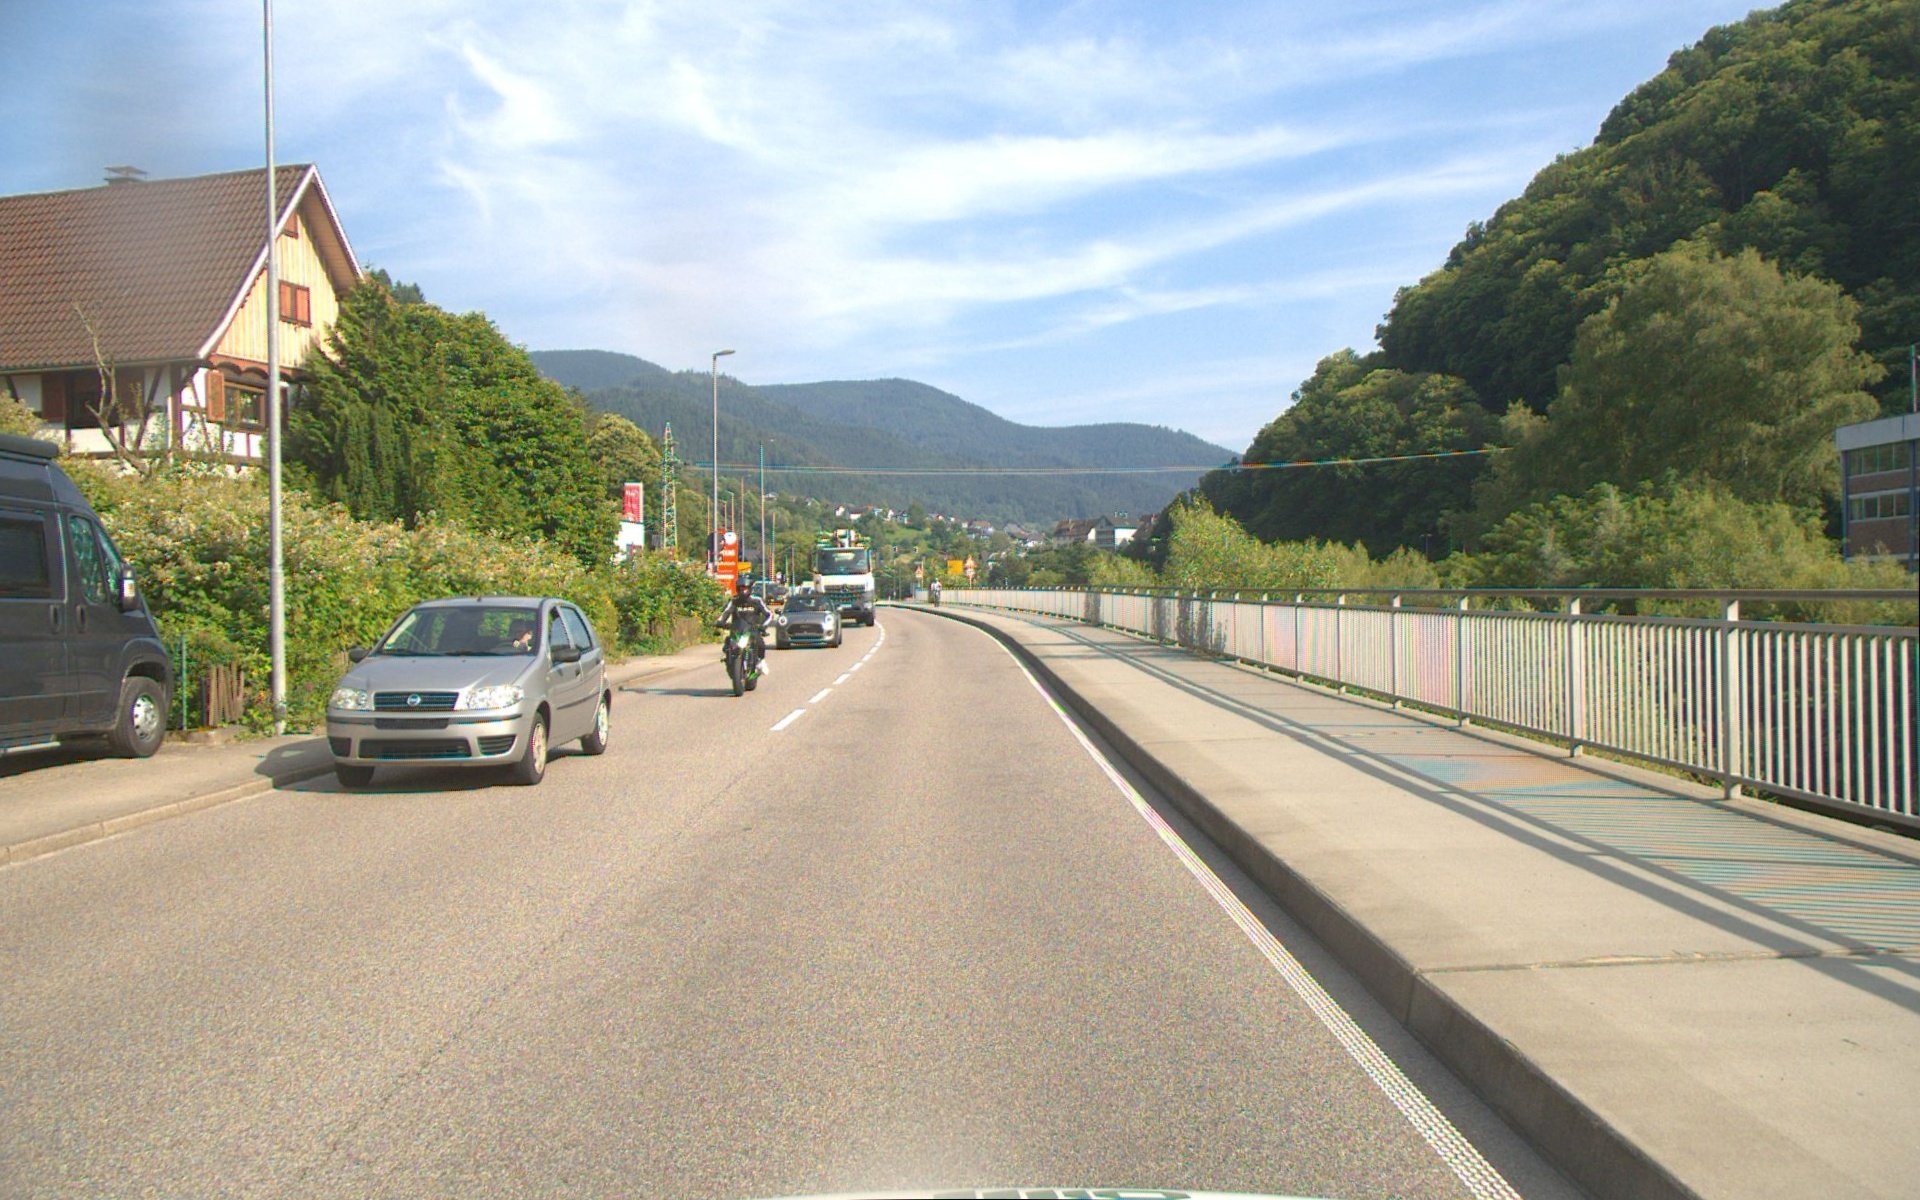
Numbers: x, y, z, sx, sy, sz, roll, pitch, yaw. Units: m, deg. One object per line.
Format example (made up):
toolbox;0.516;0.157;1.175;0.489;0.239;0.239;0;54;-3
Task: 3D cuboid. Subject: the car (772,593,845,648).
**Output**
car;-4.113;0.548;45.424;1.679;1.427;3.999;-1;0;-1

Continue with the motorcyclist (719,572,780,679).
motorcyclist;-3.198;0.386;25.189;0.808;1.585;0.628;-1;0;2

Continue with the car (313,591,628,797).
car;-4.045;0.692;14.317;1.597;1.511;3.999;-1;0;-1

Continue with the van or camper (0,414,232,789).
van or camper;-7.707;0.013;12.113;2.104;2.600;5.901;-1;0;0

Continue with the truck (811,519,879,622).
truck;-5.026;-1.182;70.706;2.528;4.000;11.292;-1;0;-6

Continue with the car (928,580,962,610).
car;-0.938;-0.341;99.632;1.716;1.528;4.188;-9;1;-3

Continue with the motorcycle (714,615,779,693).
motorcycle;-3.223;0.796;25.135;0.640;1.086;2.182;-1;0;2
